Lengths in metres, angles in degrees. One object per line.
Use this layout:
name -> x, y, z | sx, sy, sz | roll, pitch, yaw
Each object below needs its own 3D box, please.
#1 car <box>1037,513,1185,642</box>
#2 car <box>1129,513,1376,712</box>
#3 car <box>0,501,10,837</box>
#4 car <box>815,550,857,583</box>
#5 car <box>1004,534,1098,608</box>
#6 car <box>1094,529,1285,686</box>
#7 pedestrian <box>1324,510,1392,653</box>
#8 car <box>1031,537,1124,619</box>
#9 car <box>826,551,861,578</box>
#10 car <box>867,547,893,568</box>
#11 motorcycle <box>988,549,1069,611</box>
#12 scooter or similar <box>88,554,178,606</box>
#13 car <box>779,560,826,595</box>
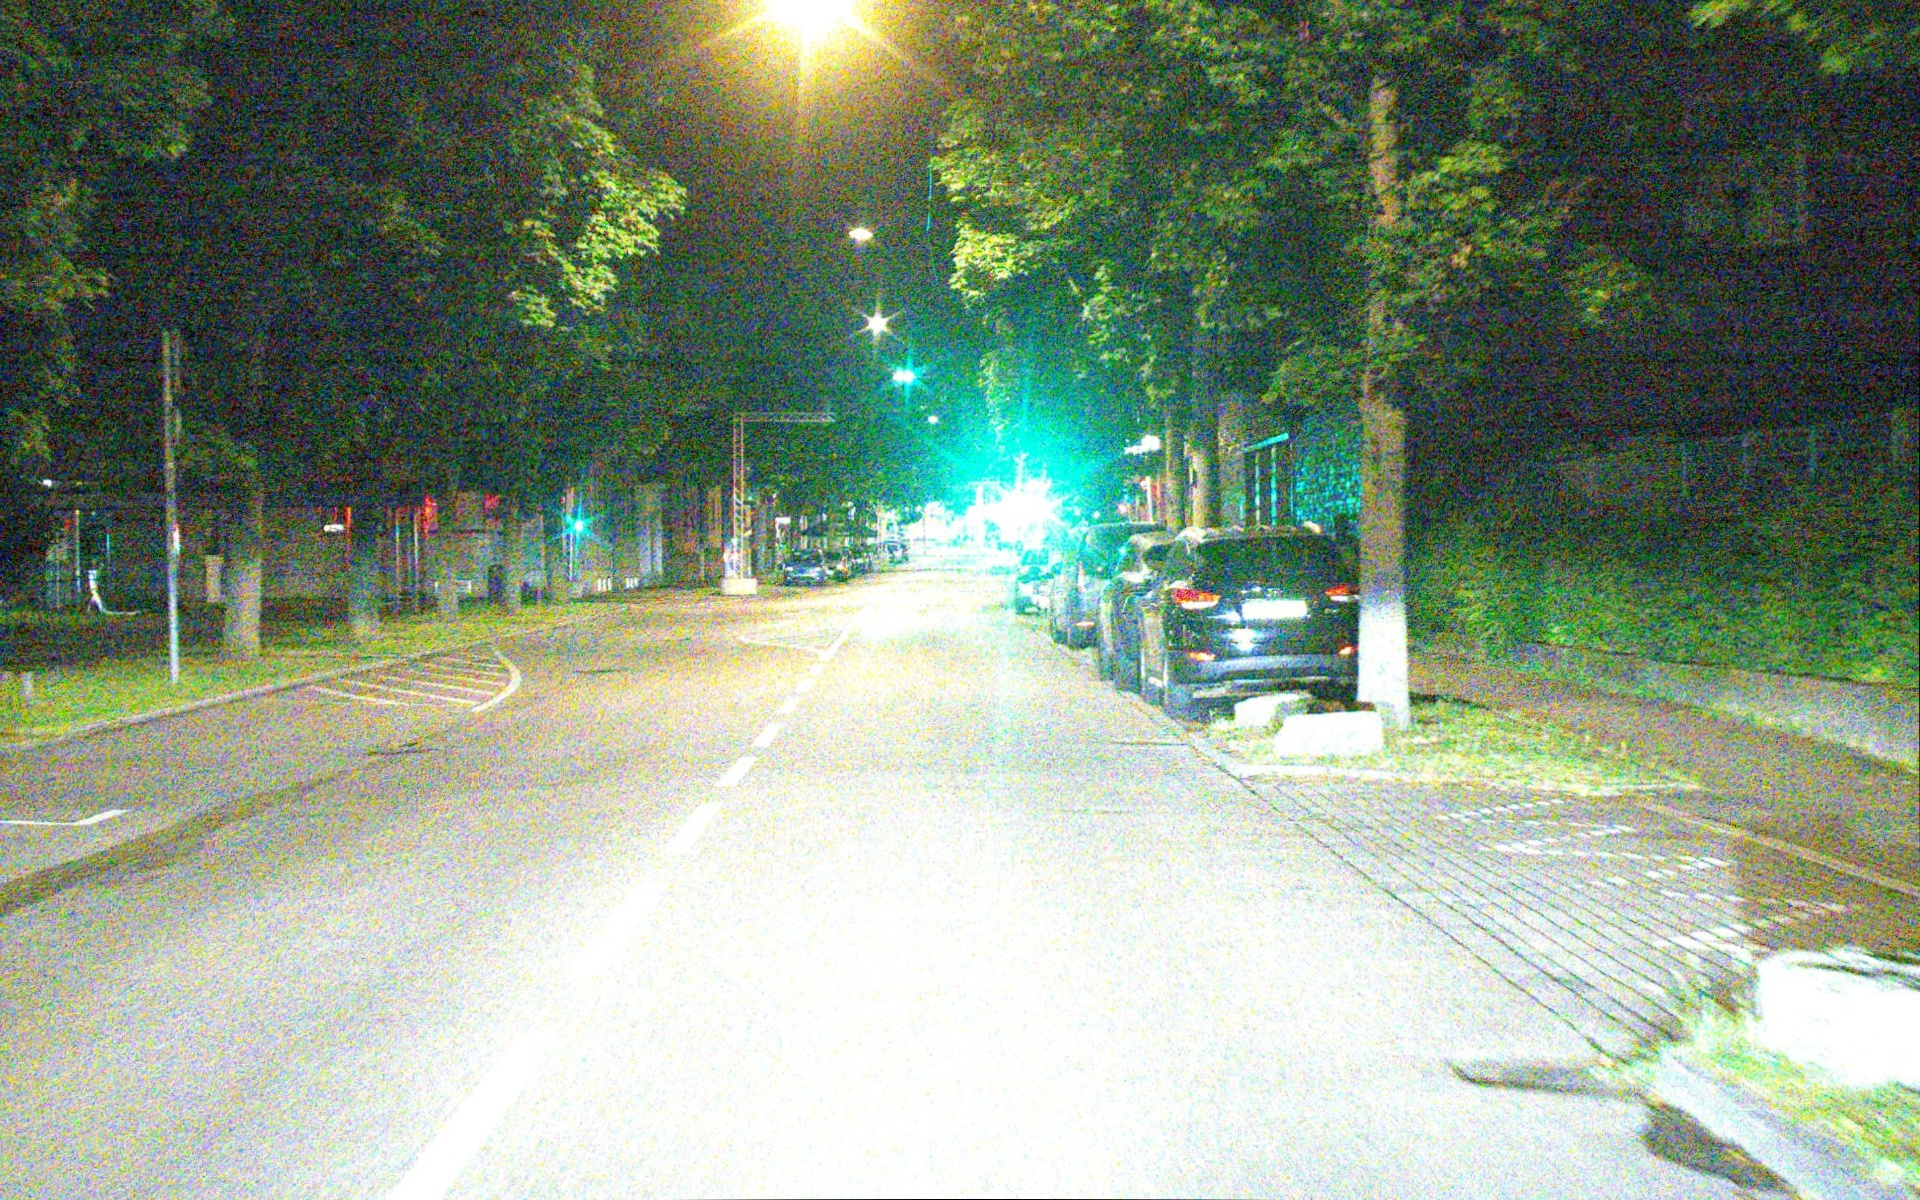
car -> 2.217, -0.355, 51.559 | 1.771, 1.800, 4.278 | -1, 1, -3
car -> 2.599, 0.076, 31.412 | 1.853, 1.648, 4.209 | -1, 1, 0
car -> -6.063, 0.381, 16.397 | 1.822, 1.805, 4.210 | 2, 1, 1
car -> -5.532, -1.515, 154.020 | 1.740, 1.411, 3.752 | 1, 2, 0
car -> 1.976, -0.647, 75.675 | 1.853, 1.585, 4.301 | 0, 1, -1
car -> 2.417, 0.038, 37.085 | 1.853, 1.599, 4.209 | 0, 1, 1
pedestrian -> 4.886, -0.229, 42.220 | 0.705, 1.716, 0.821 | -1, 0, 0
car -> 2.309, -0.453, 68.398 | 1.591, 1.529, 4.138 | -1, 1, -1
car -> -6.198, -1.887, 182.472 | 1.740, 1.411, 3.752 | 1, 1, 0
car -> -5.562, -2.968, 238.453 | 1.740, 1.411, 3.752 | 1, 1, 0
motorcycle -> 1.439, -0.421, 71.687 | 0.637, 1.265, 2.060 | 1, 1, 34
scooter or similar -> -17.029, -0.413, 70.790 | 1.674, 1.004, 0.544 | 3, 1, 1
car -> -6.349, -0.923, 139.183 | 1.740, 1.411, 3.752 | 1, 1, 0
